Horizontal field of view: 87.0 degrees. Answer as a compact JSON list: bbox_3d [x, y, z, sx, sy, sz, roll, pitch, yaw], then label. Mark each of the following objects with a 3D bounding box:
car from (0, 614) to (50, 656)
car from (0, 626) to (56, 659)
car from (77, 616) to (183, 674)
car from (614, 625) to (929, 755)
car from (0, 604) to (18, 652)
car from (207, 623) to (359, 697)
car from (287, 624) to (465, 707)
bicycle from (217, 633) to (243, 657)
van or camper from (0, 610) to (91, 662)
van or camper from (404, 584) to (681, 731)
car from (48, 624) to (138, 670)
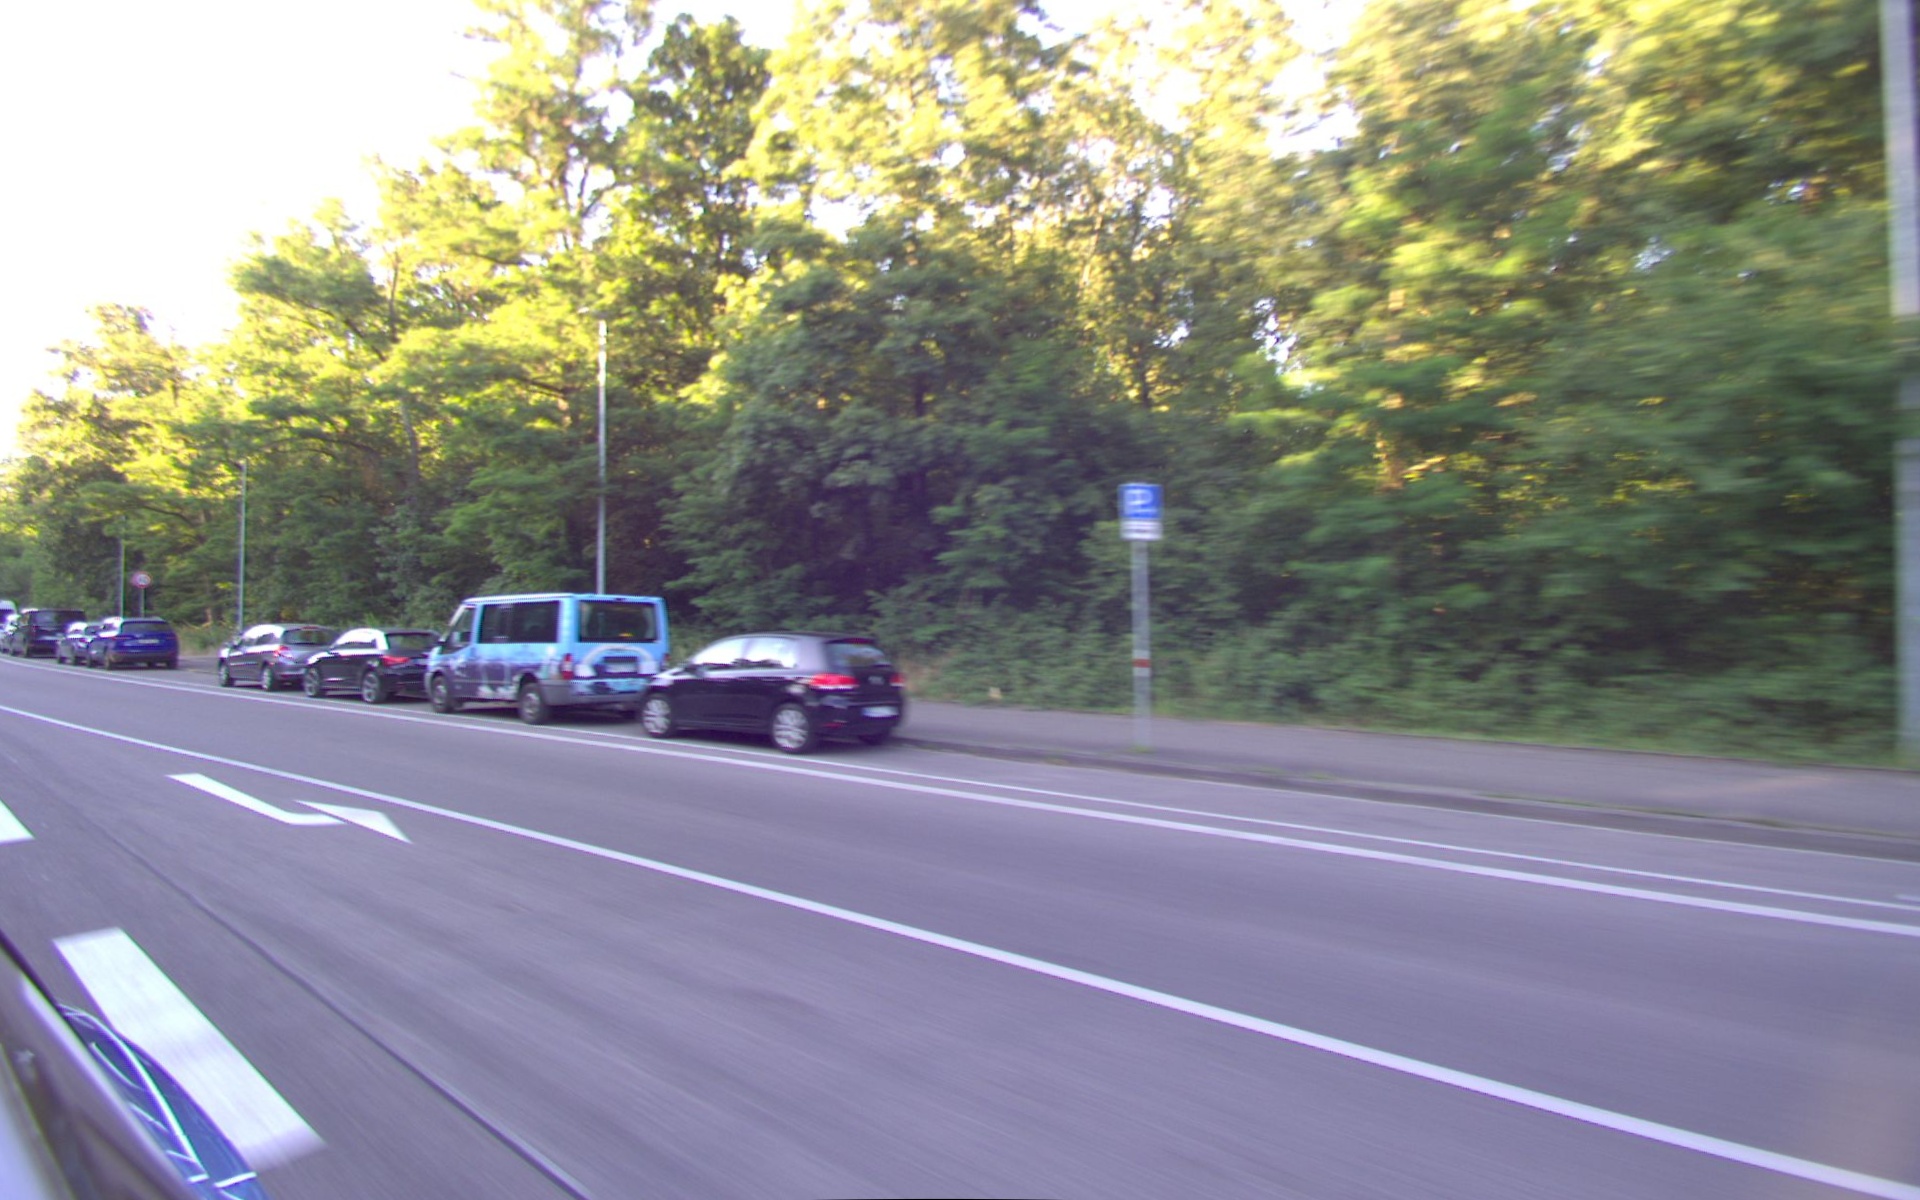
[{"bbox_3d":[-46.640,1.697,50.060,4.381,1.872,1.671,-1,1,38],"label":"car"},{"bbox_3d":[-42.950,1.952,46.430,4.445,1.444,1.652,-2,-4,41],"label":"car"},{"bbox_3d":[-26.500,1.417,32.252,4.518,1.725,1.727,-1,-3,40],"label":"car"},{"bbox_3d":[-2.592,1.085,13.462,4.235,1.473,1.672,-1,-3,36],"label":"car"},{"bbox_3d":[-55.355,1.562,57.357,7.085,2.626,2.057,-1,-5,41],"label":"car"},{"bbox_3d":[-15.591,1.332,23.249,4.032,1.546,1.602,-1,-3,36],"label":"car"},{"bbox_3d":[-11.732,1.259,20.262,3.963,1.505,1.529,-1,-3,35],"label":"car"},{"bbox_3d":[-30.045,1.837,41.654,1.717,0.982,0.448,-1,-3,41],"label":"bicycle"},{"bbox_3d":[-37.980,1.504,41.957,5.455,2.033,1.982,-1,-4,39],"label":"van or camper"},{"bbox_3d":[-7.080,0.904,16.932,5.006,2.110,2.012,-1,-3,38],"label":"van or camper"},{"bbox_3d":[-30.309,1.622,35.349,4.242,1.513,1.652,-1,-3,40],"label":"car"}]
